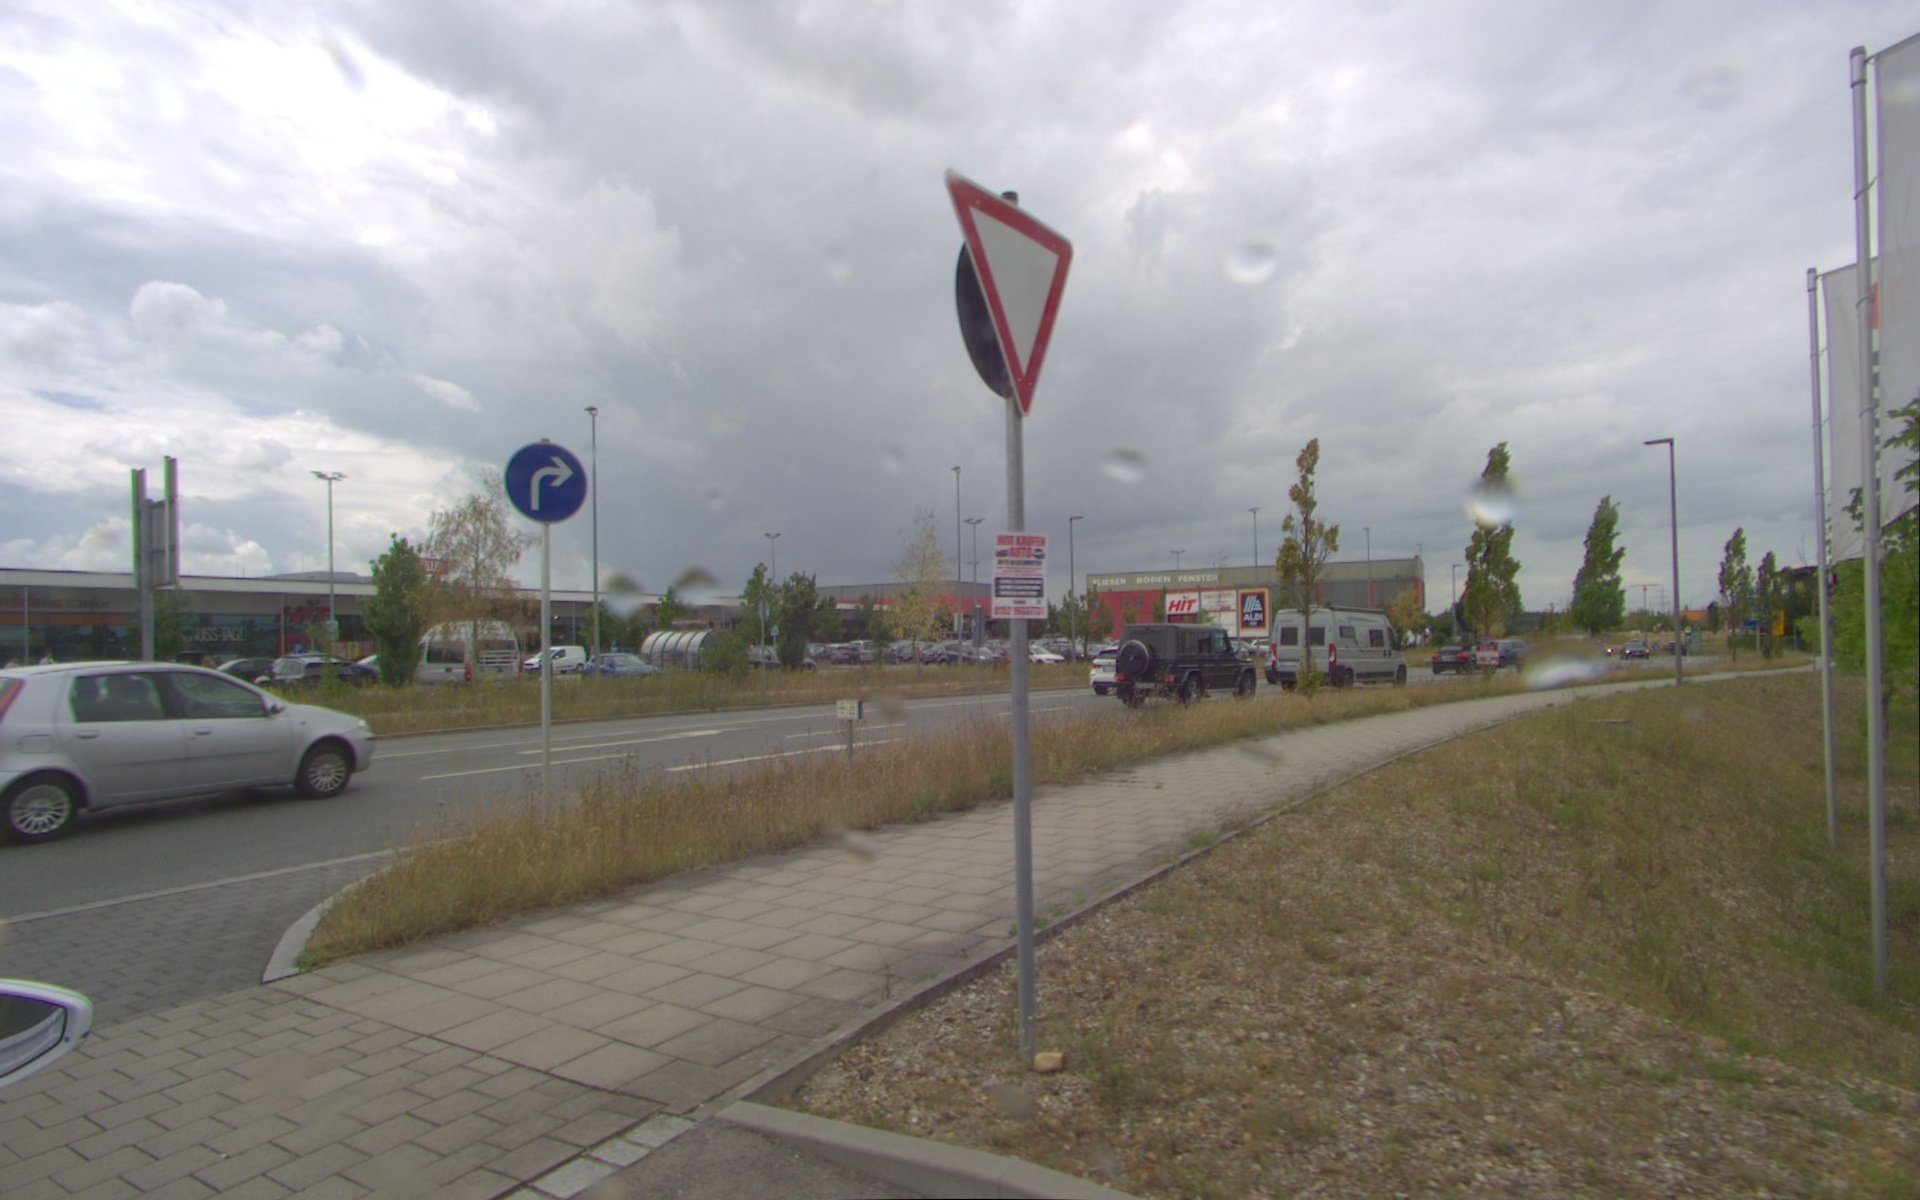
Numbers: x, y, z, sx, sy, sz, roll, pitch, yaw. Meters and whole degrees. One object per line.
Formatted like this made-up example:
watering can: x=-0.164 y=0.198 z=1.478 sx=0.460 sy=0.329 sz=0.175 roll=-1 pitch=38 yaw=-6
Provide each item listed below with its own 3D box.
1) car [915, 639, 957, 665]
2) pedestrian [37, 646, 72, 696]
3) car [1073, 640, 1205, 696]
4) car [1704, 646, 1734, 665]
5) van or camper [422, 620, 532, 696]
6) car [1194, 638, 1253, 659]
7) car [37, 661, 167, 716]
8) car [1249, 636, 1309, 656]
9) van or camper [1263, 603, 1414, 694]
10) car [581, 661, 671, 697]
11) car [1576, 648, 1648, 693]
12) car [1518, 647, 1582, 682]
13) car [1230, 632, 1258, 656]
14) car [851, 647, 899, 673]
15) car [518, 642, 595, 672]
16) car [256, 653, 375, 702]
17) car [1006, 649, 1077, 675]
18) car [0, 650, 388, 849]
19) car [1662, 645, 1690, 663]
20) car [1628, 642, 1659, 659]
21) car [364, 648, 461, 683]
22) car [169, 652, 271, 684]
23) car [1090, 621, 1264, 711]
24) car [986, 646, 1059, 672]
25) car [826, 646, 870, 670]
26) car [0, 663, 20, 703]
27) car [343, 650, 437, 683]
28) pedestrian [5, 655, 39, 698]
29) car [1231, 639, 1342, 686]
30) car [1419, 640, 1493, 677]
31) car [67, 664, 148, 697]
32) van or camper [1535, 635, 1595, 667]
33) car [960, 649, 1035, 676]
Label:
car: x=-1.661 y=3.665 z=70.868 sx=1.733 sy=1.674 sz=3.829 roll=-2 pitch=-2 yaw=20
pedestrian: x=-37.513 y=2.921 z=41.499 sx=0.990 sy=2.039 sz=0.863 roll=-2 pitch=-2 yaw=34
car: x=5.406 y=1.986 z=29.854 sx=4.209 sy=1.468 sz=1.783 roll=1 pitch=-3 yaw=-45
car: x=77.262 y=5.655 z=101.960 sx=1.782 sy=1.872 sz=3.902 roll=-3 pitch=-3 yaw=28
van or camper: x=-17.340 y=2.080 z=35.860 sx=3.958 sy=2.523 sz=2.271 roll=-4 pitch=-3 yaw=42
car: x=19.045 y=3.526 z=72.523 sx=1.726 sy=1.445 sz=3.807 roll=1 pitch=-4 yaw=-44
car: x=-24.402 y=2.487 z=28.438 sx=4.098 sy=1.401 sz=1.982 roll=-4 pitch=-3 yaw=37
car: x=24.841 y=3.622 z=78.069 sx=3.957 sy=1.460 sz=1.984 roll=-4 pitch=-4 yaw=42
van or camper: x=11.939 y=1.527 z=31.286 sx=2.174 sy=2.573 sz=6.112 roll=-3 pitch=-4 yaw=44
car: x=-13.953 y=3.272 z=41.685 sx=4.106 sy=1.401 sz=1.795 roll=-4 pitch=-4 yaw=42
car: x=26.602 y=2.864 z=40.823 sx=3.471 sy=1.697 sz=1.670 roll=1 pitch=-4 yaw=-43
car: x=25.359 y=2.774 z=43.007 sx=3.308 sy=1.403 sz=1.482 roll=1 pitch=-4 yaw=-43
car: x=27.815 y=4.267 z=98.006 sx=1.993 sy=2.233 sz=4.336 roll=-2 pitch=-2 yaw=25
car: x=-6.196 y=4.377 z=73.524 sx=1.966 sy=1.756 sz=3.992 roll=-2 pitch=-2 yaw=21
car: x=-25.758 y=3.636 z=64.089 sx=1.969 sy=1.841 sz=4.414 roll=-3 pitch=-3 yaw=26
car: x=-21.011 y=2.523 z=32.590 sx=4.098 sy=1.469 sz=1.982 roll=-4 pitch=-3 yaw=37
car: x=4.768 y=3.606 z=58.618 sx=3.772 sy=1.408 sz=1.899 roll=-3 pitch=-2 yaw=41
car: x=-7.889 y=1.278 z=9.695 sx=1.770 sy=1.480 sz=3.808 roll=0 pitch=-1 yaw=22
car: x=75.110 y=5.641 z=105.122 sx=1.782 sy=1.872 sz=3.902 roll=-3 pitch=-3 yaw=28
car: x=58.917 y=4.344 z=86.316 sx=1.755 sy=1.402 sz=4.117 roll=-2 pitch=-2 yaw=41
car: x=-28.554 y=3.394 z=52.310 sx=1.975 sy=1.638 sz=3.973 roll=-3 pitch=-2 yaw=37
car: x=-39.710 y=3.627 z=53.794 sx=1.971 sy=1.527 sz=3.983 roll=-2 pitch=-2 yaw=30
car: x=5.338 y=1.556 z=24.217 sx=1.979 sy=1.947 sz=4.808 roll=-3 pitch=-4 yaw=42
car: x=3.540 y=3.352 z=56.934 sx=3.772 sy=1.408 sz=1.899 roll=-3 pitch=-2 yaw=41
car: x=-8.333 y=4.330 z=74.746 sx=1.733 sy=1.674 sz=3.829 roll=-2 pitch=-2 yaw=20
car: x=-36.608 y=3.045 z=36.024 sx=1.643 sy=1.472 sz=3.744 roll=-2 pitch=-2 yaw=29
car: x=-30.647 y=3.560 z=53.887 sx=1.975 sy=1.638 sz=3.973 roll=-3 pitch=-2 yaw=37
pedestrian: x=-37.533 y=3.055 z=40.079 sx=0.887 sy=1.652 sz=0.820 roll=-3 pitch=-3 yaw=34
car: x=11.914 y=2.223 z=36.311 sx=4.838 sy=1.527 sz=1.793 roll=1 pitch=-3 yaw=-45
car: x=23.076 y=2.695 z=46.512 sx=1.889 sy=1.588 sz=4.298 roll=-3 pitch=-3 yaw=43
car: x=-43.454 y=4.077 z=51.030 sx=3.942 sy=1.527 sz=1.991 roll=-2 pitch=-2 yaw=31
van or camper: x=39.693 y=3.345 z=65.643 sx=5.151 sy=1.936 sz=1.982 roll=1 pitch=-3 yaw=-43
car: x=2.020 y=3.425 z=55.012 sx=3.772 sy=1.408 sz=1.899 roll=-3 pitch=-2 yaw=41
